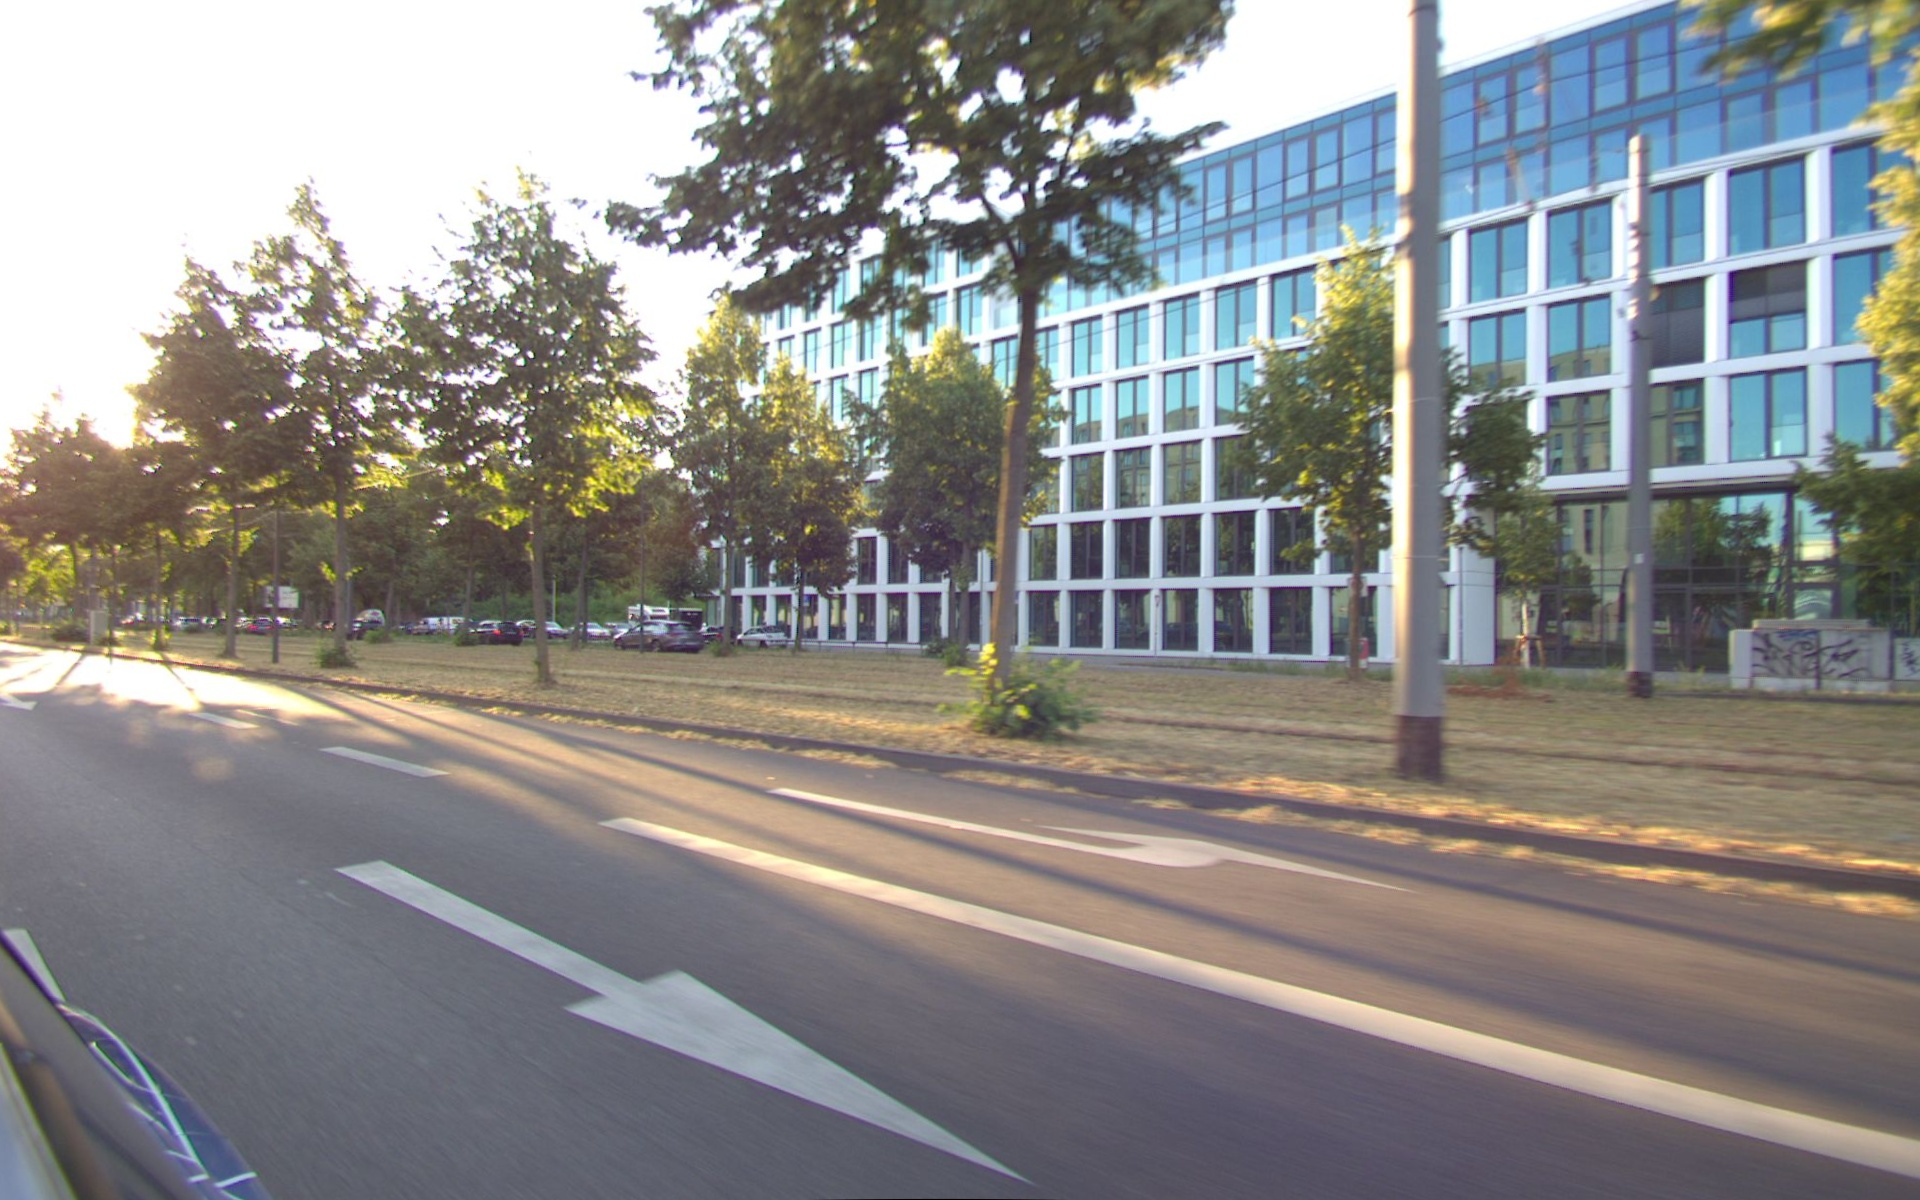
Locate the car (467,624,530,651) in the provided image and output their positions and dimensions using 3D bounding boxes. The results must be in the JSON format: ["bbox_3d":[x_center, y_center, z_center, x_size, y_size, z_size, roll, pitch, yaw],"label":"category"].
[{"bbox_3d":[-25.725,2.061,56.339,3.997,1.413,1.628,-1,-2,40],"label":"car"}]

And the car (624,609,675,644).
[{"bbox_3d":[-27.248,2.306,88.647,2.132,3.014,5.729,1,-2,-41],"label":"car"}]

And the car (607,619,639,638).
[{"bbox_3d":[-32.847,2.792,98.573,1.822,1.826,4.009,1,-2,-36],"label":"car"}]

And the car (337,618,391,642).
[{"bbox_3d":[-36.477,1.796,61.879,3.997,1.413,1.628,-1,-2,40],"label":"car"}]

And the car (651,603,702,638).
[{"bbox_3d":[-25.467,1.860,90.805,2.132,3.014,5.729,1,-2,-41],"label":"car"}]

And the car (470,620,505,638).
[{"bbox_3d":[-47.485,2.913,101.732,3.998,1.719,1.749,-1,-2,41],"label":"car"}]

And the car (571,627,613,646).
[{"bbox_3d":[-30.950,3.053,84.982,1.969,1.604,4.005,2,-2,-42],"label":"car"}]

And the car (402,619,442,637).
[{"bbox_3d":[-53.448,2.784,100.489,4.609,1.754,1.973,-1,-2,41],"label":"car"}]

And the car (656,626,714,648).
[{"bbox_3d":[-18.319,2.458,67.367,3.997,1.413,1.741,-1,-2,40],"label":"car"}]

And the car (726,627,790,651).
[{"bbox_3d":[-12.425,2.344,62.094,3.997,1.413,1.741,-1,-2,40],"label":"car"}]

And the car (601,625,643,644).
[{"bbox_3d":[-28.984,2.941,86.619,1.969,1.604,4.005,2,-2,-42],"label":"car"}]

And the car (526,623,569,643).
[{"bbox_3d":[-34.602,2.761,84.925,1.969,1.604,4.340,2,-2,-42],"label":"car"}]

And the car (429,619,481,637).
[{"bbox_3d":[-49.325,2.737,98.906,1.998,1.754,4.032,-1,-2,39],"label":"car"}]

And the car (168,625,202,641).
[{"bbox_3d":[-71.085,3.040,92.824,3.997,1.413,1.628,-1,-2,40],"label":"car"}]

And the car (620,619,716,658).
[{"bbox_3d":[-11.386,1.471,39.330,3.997,1.413,1.628,-1,-2,40],"label":"car"}]

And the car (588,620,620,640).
[{"bbox_3d":[-34.150,2.873,96.952,1.822,1.826,4.009,1,-2,-36],"label":"car"}]

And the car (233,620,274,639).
[{"bbox_3d":[-54.755,2.290,78.439,3.997,1.413,1.628,-1,-2,40],"label":"car"}]
